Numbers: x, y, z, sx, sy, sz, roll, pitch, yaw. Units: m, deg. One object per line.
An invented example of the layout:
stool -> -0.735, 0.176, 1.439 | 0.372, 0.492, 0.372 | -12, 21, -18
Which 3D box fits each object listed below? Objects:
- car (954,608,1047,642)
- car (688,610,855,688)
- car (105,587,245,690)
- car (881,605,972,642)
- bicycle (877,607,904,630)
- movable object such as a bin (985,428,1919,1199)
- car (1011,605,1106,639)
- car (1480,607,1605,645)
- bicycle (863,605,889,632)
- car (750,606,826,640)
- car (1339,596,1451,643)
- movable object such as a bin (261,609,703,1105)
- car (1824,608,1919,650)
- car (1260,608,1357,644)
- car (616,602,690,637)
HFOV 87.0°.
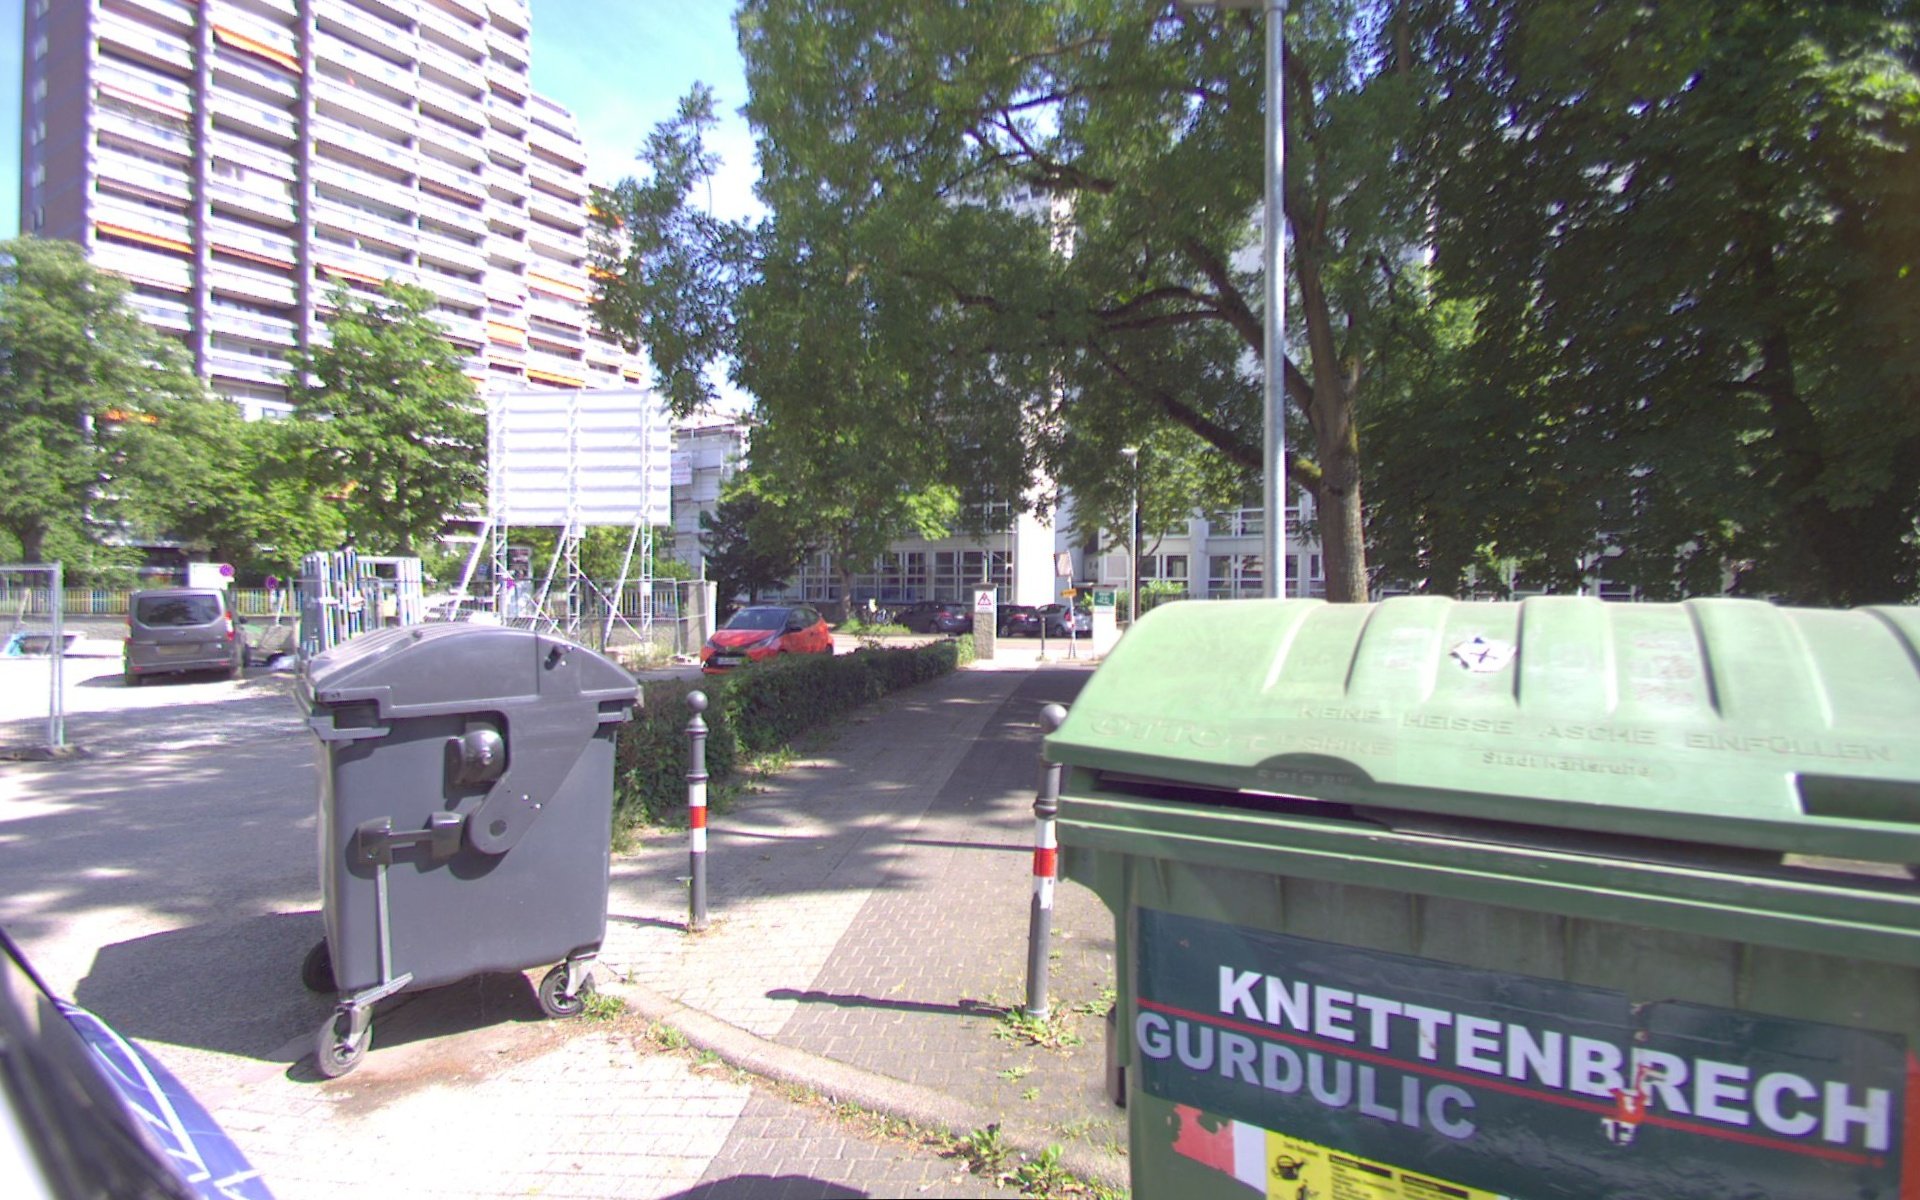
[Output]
car -> 1.784, 1.095, 45.626 | 1.774, 1.487, 4.190 | 1, -1, -42
car -> -3.740, 0.956, 20.836 | 1.648, 1.423, 4.151 | 0, -1, 17
car -> -15.587, 0.679, 20.298 | 1.890, 1.794, 4.324 | -1, 1, -34
car -> -1.578, 1.031, 46.016 | 1.780, 1.577, 4.397 | 0, -1, -41
bicycle -> -3.633, 0.967, 53.104 | 0.487, 1.209, 2.000 | 0, -1, 25
movable object such as a bin -> 0.903, 0.608, 1.474 | 1.333, 1.492, 1.236 | 0, 0, 28
car -> 4.420, 0.965, 45.876 | 1.773, 1.497, 4.348 | 1, -1, -39
car -> 24.463, 1.087, 42.600 | 1.754, 1.550, 4.227 | 1, -2, -39
bicycle -> -4.457, 0.956, 53.706 | 0.487, 1.389, 2.000 | 0, -1, 25
car -> -7.942, 1.032, 46.517 | 1.628, 1.463, 4.006 | 0, 0, -41
car -> 18.408, 0.828, 42.920 | 1.759, 1.921, 4.007 | 1, -2, -39
movable object such as a bin -> -1.846, 0.741, 3.830 | 1.228, 1.407, 1.407 | 1, -1, -38
car -> 37.841, 1.149, 41.007 | 1.799, 1.674, 4.010 | 1, -1, -35
car -> 14.985, 1.102, 43.756 | 1.680, 1.474, 3.862 | 1, -1, -28
car -> -14.362, 0.879, 47.217 | 1.814, 1.421, 4.155 | -2, 2, -40
